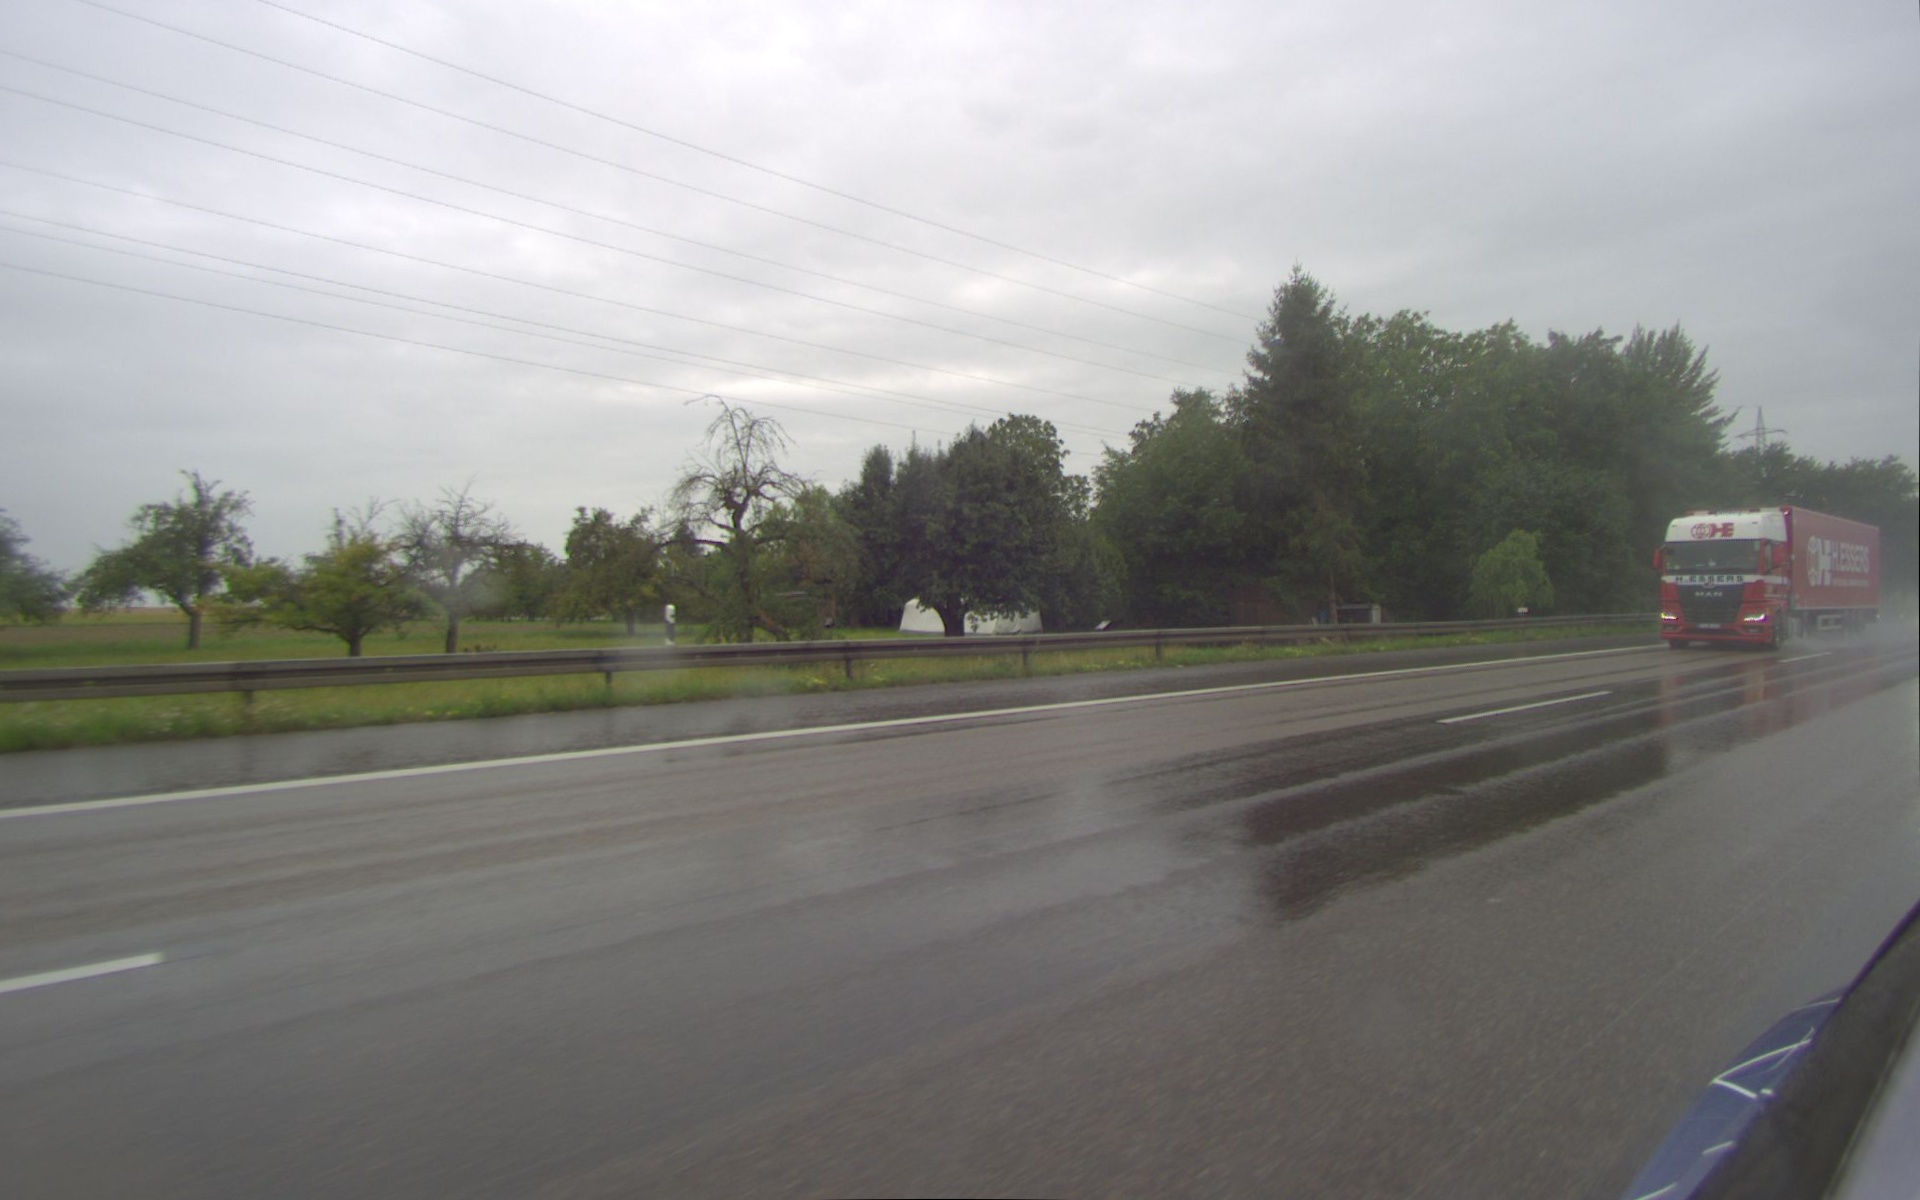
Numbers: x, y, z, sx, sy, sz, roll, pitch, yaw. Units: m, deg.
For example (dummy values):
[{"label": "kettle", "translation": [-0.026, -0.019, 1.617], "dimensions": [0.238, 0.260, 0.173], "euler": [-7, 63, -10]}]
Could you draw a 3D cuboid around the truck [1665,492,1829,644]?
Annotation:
[{"label": "truck", "translation": [22.832, -0.871, 29.284], "dimensions": [5.335, 4.005, 2.626], "euler": [-1, 0, -39]}]

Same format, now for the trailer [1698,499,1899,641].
[{"label": "trailer", "translation": [28.285, -0.918, 33.766], "dimensions": [13.385, 4.005, 2.626], "euler": [-1, 0, -39]}]
